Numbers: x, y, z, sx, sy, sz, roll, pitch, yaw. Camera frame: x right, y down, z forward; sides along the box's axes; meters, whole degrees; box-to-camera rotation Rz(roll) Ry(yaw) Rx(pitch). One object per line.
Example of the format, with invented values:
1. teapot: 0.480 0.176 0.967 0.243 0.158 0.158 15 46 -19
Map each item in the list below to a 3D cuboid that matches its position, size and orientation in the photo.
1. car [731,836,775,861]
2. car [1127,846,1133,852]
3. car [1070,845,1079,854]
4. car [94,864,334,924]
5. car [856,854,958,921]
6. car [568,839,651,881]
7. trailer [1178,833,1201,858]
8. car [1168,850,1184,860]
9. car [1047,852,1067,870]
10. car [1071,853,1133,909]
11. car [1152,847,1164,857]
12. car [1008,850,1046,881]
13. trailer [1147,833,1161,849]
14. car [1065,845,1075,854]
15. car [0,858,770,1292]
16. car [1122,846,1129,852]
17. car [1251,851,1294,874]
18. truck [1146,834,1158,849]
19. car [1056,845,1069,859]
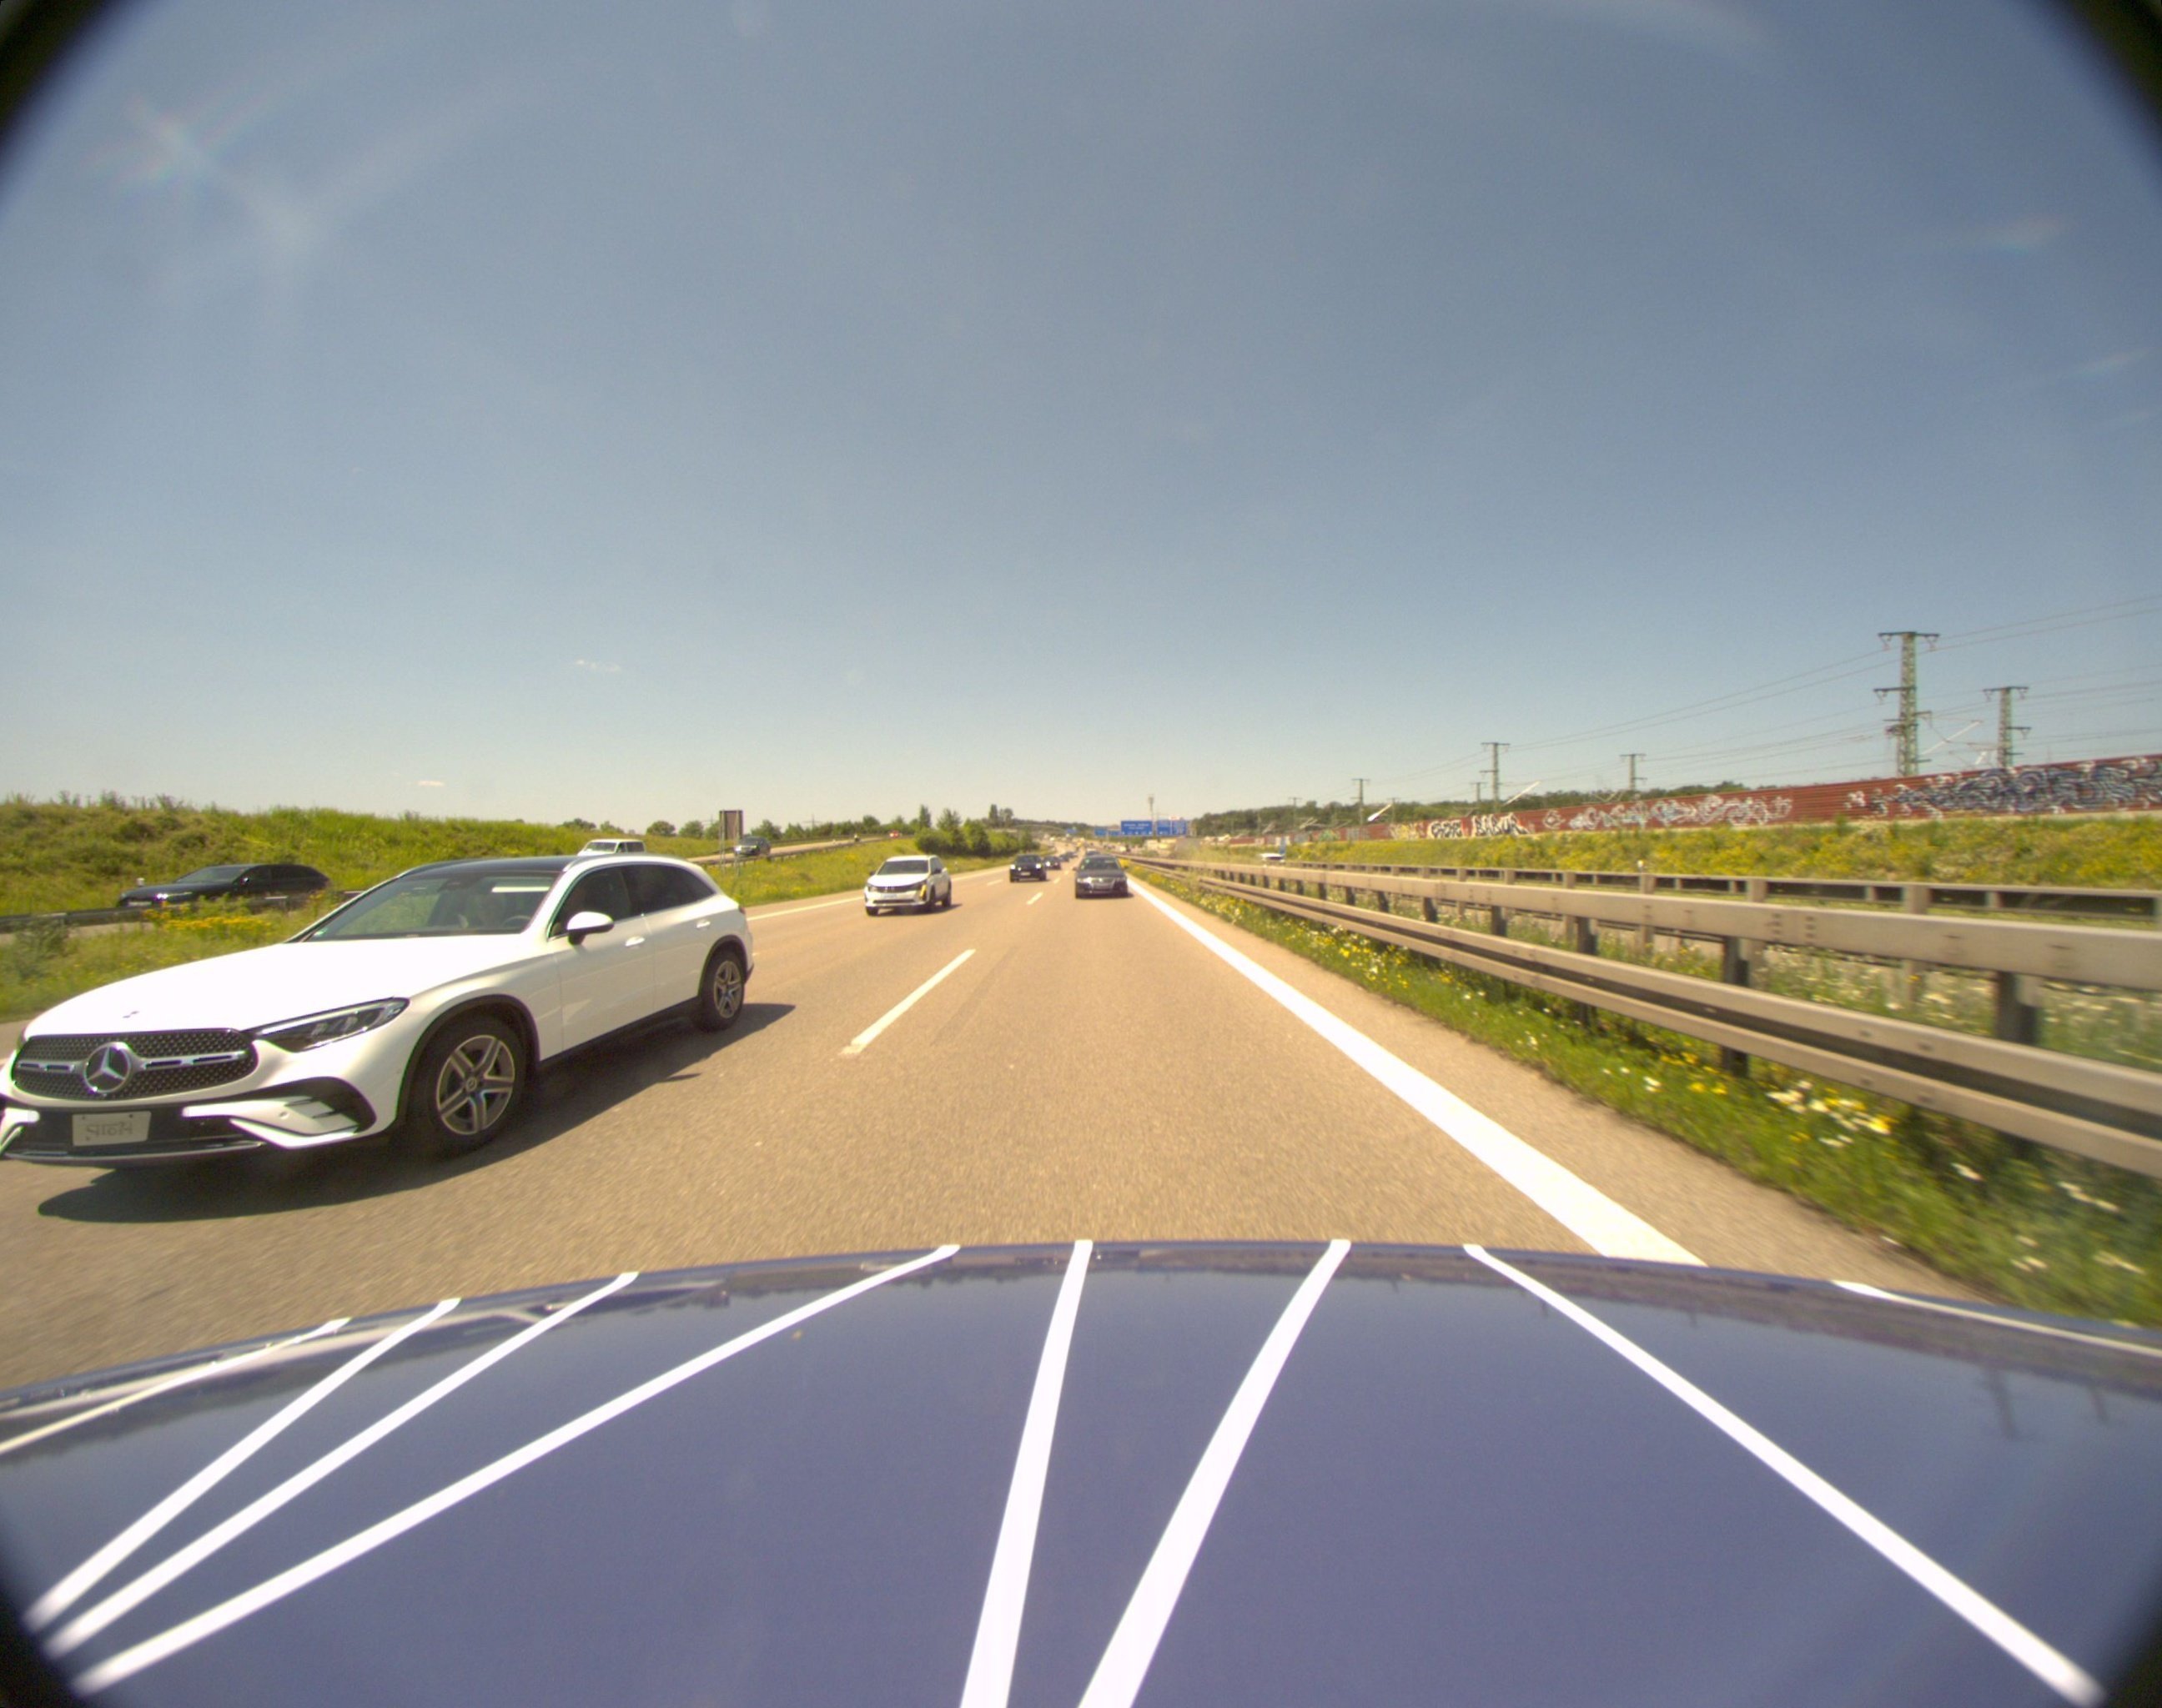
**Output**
1. car: -28.056 -0.516 65.136 1.999 2.002 3.998 -3 2 -3
2. car: 16.432 -1.744 255.402 1.723 1.625 4.191 -3 2 1
3. car: -1.474 -1.017 181.639 1.998 2.002 3.999 -3 2 1
4. car: -23.958 1.021 21.313 1.999 1.375 4.294 -2 0 -6
5. car: -5.005 0.886 22.552 1.898 1.620 4.615 -2 1 0
6. car: -26.216 0.319 42.474 2.000 2.159 4.890 -2 0 -7
7. trailer: 18.676 -1.433 131.605 2.736 4.050 13.531 0 1 3
8. car: 14.071 0.156 112.772 1.820 1.470 3.842 -1 0 1
9. car: -2.292 0.620 71.285 1.752 1.462 3.998 -2 2 -2
10. car: 0.607 0.794 24.259 1.752 1.462 3.998 -2 2 0
11. car: 15.139 -0.381 149.338 1.998 2.002 4.000 -2 0 1
12. car: -3.160 0.643 45.338 1.983 1.620 4.615 -2 1 -1
13. trailer: 20.107 -3.483 209.519 2.895 4.382 12.090 0 1 1
14. car: -2.333 -0.983 163.771 1.999 1.691 3.999 -2 1 0
15. car: -4.180 0.934 5.412 1.909 1.646 4.636 -2 1 1
16. car: 12.787 -1.513 220.899 1.820 1.775 4.538 -1 1 1
17. car: 13.577 0.576 54.247 1.917 1.535 4.809 -2 0 1
18. truck: 20.229 -3.542 215.761 2.895 4.382 7.502 0 1 1
19. car: -2.960 -0.350 122.903 1.999 2.002 3.999 -2 1 0
